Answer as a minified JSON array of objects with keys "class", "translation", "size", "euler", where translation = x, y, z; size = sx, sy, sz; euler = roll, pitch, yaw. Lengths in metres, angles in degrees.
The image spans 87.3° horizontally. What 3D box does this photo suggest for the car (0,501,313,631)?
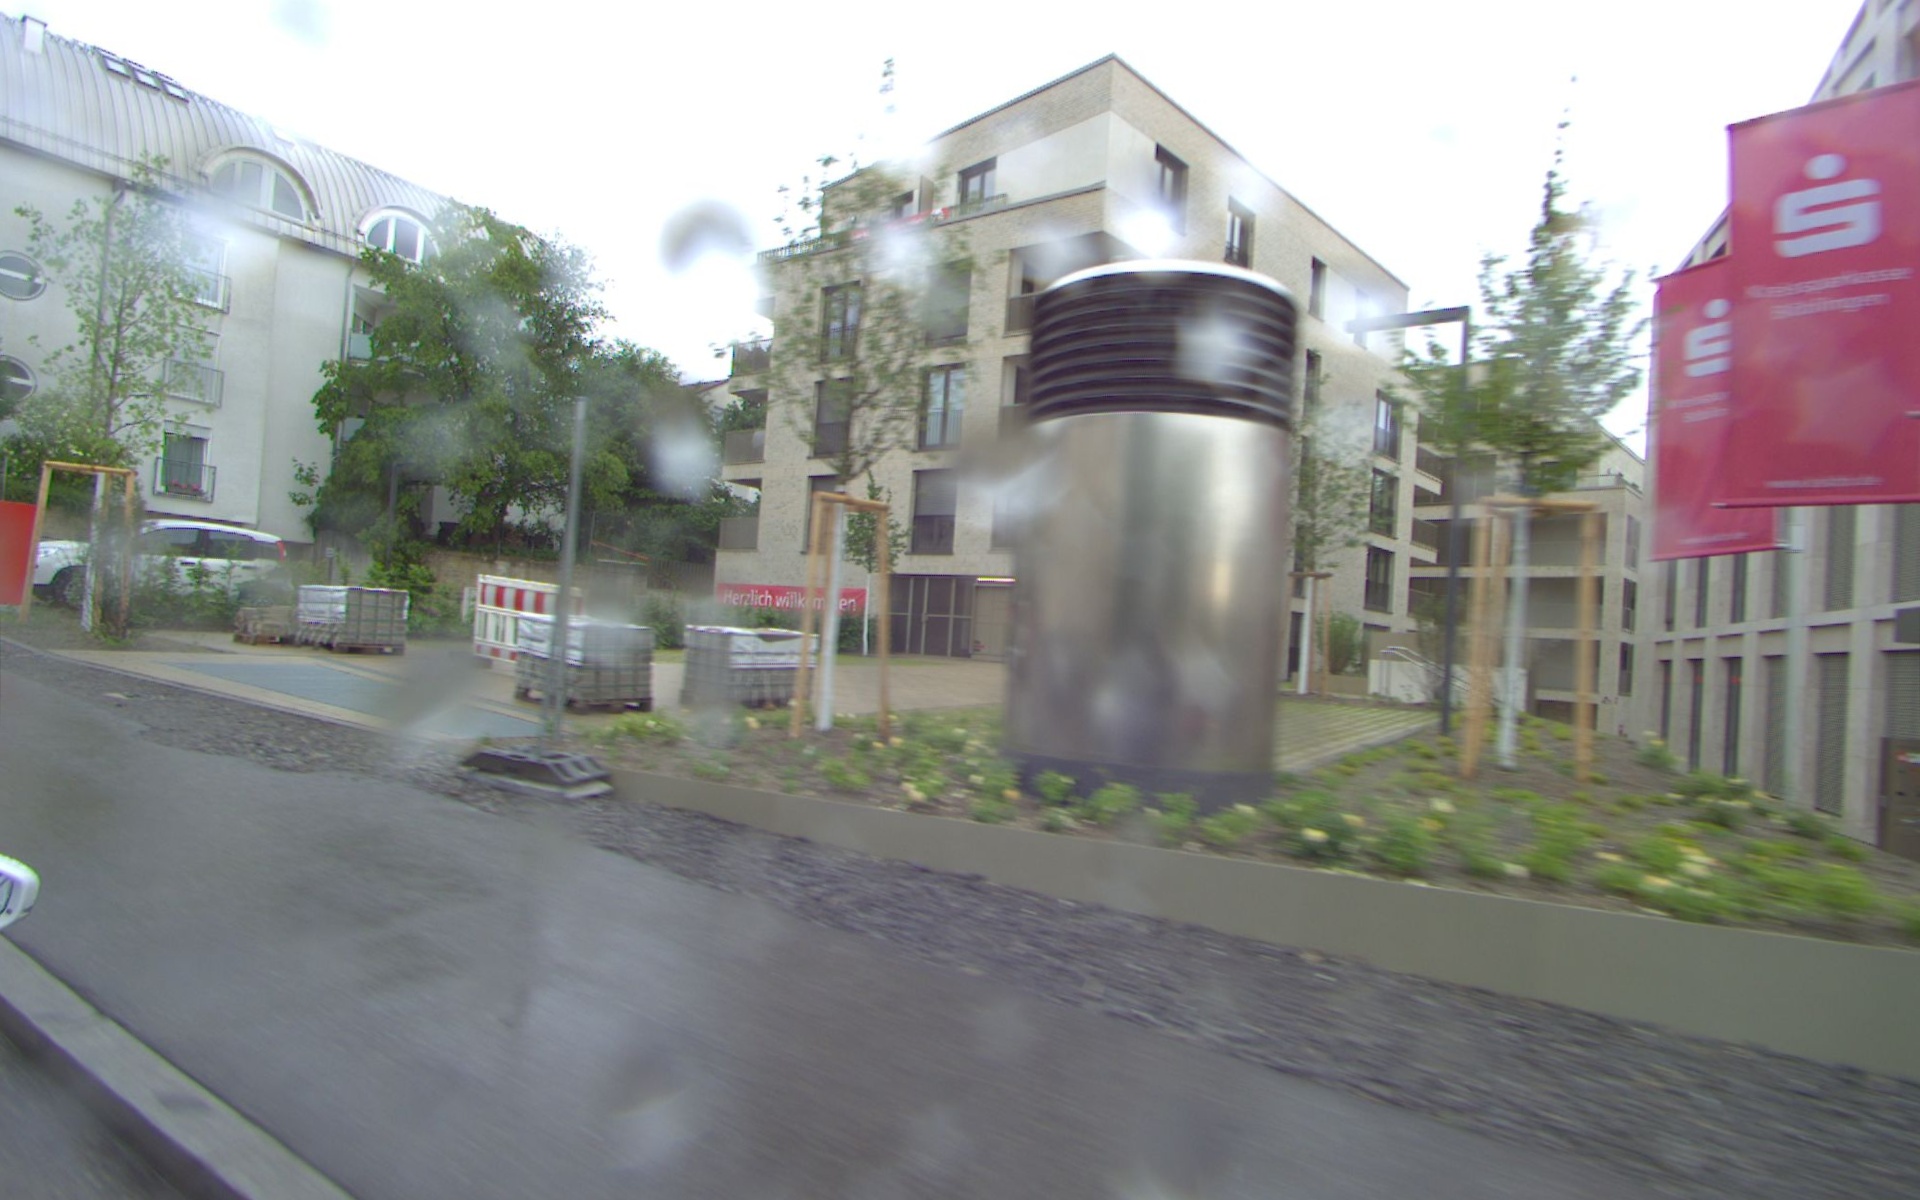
[{"class":"car","translation":[-12.829,-0.482,16.089],"size":[1.748,1.521,3.671],"euler":[6,-2,34]}]
